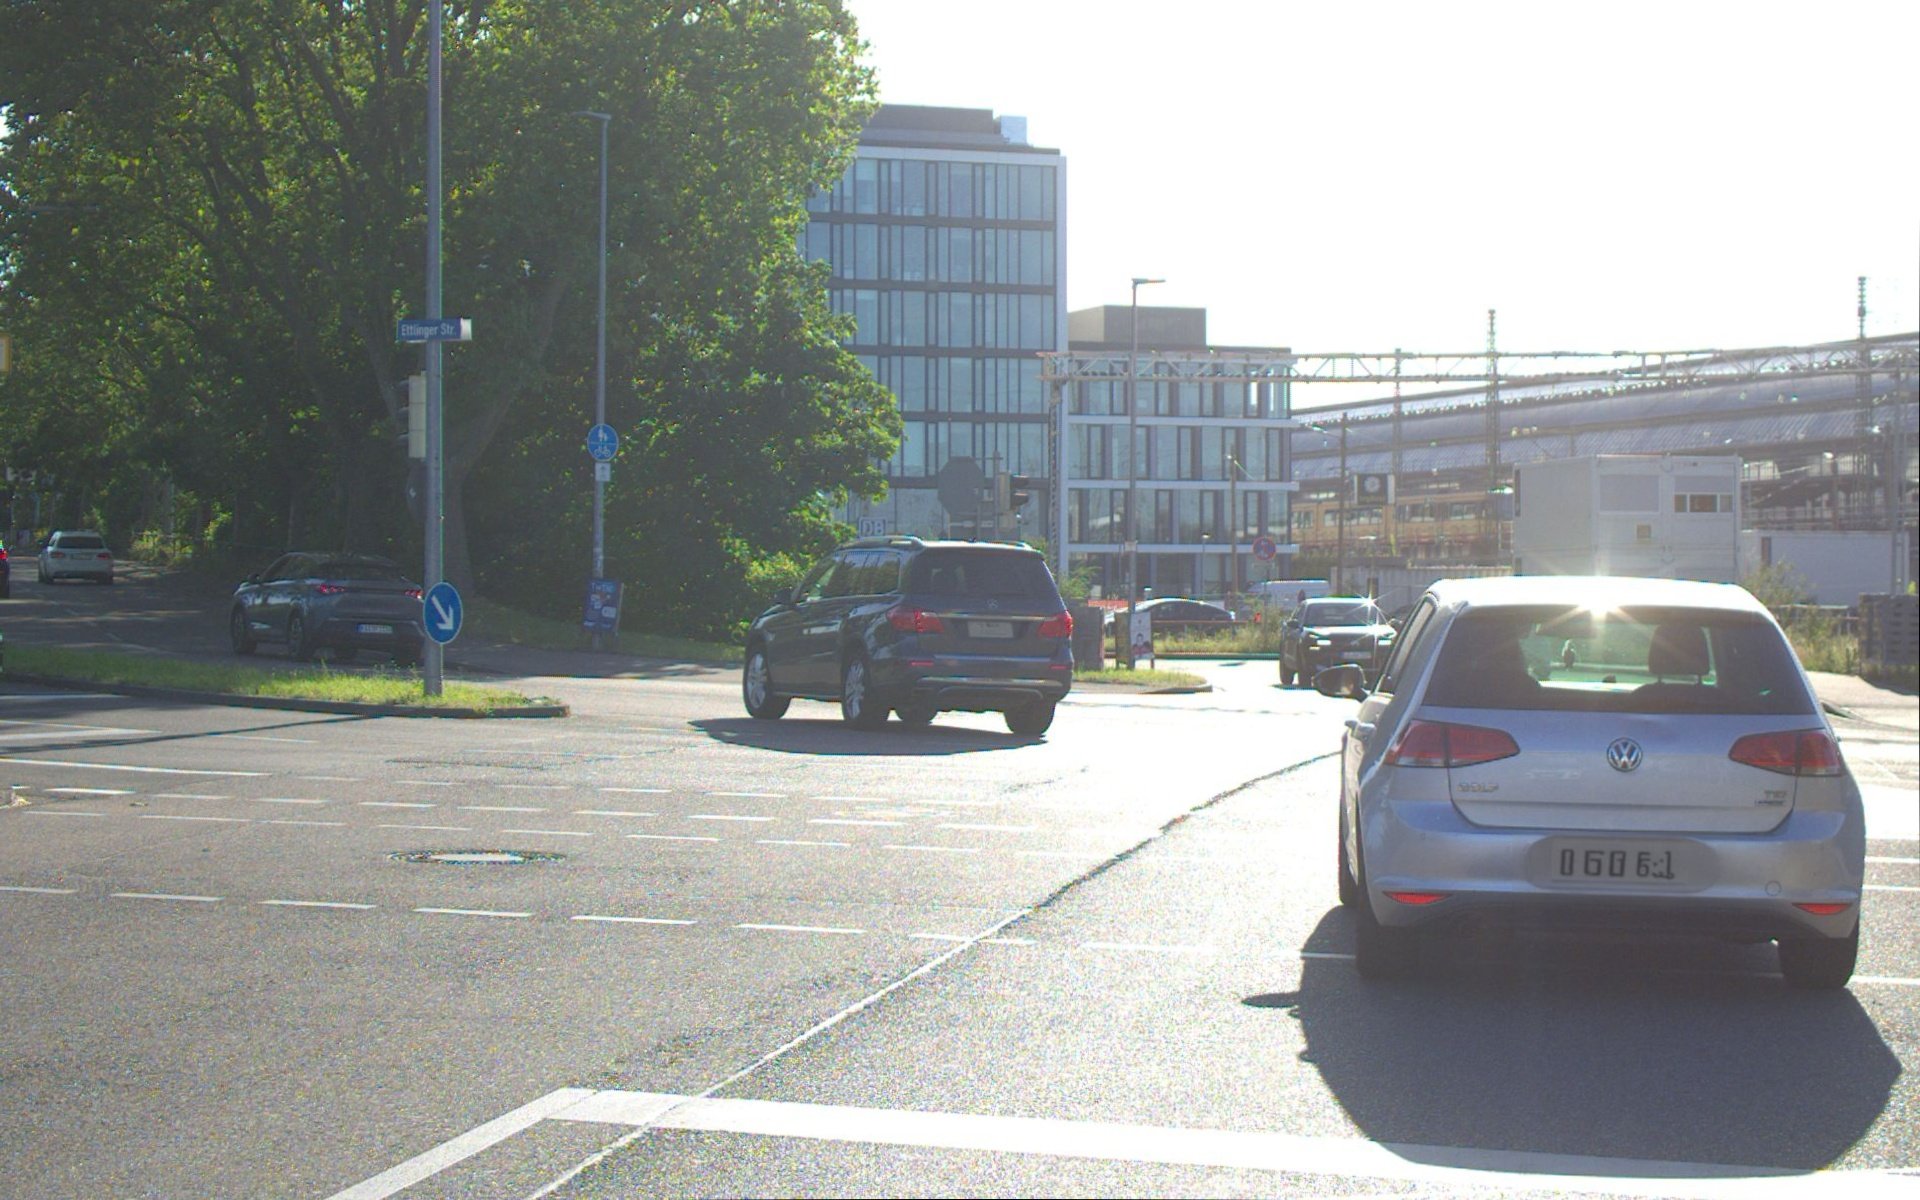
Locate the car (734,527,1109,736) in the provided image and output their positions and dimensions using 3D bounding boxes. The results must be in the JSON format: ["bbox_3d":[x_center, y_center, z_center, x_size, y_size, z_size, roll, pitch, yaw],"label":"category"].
[{"bbox_3d":[-0.477,0.264,33.533,2.112,1.881,4.814,1,0,-21],"label":"car"}]

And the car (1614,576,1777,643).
[{"bbox_3d":[20.120,0.267,94.073,3.986,1.700,1.616,2,0,-10],"label":"car"}]

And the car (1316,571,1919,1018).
[{"bbox_3d":[2.429,0.619,13.272,1.970,1.422,3.936,1,1,4],"label":"car"}]

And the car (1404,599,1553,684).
[{"bbox_3d":[9.739,0.755,64.826,1.747,1.471,4.001,1,1,-7],"label":"car"}]

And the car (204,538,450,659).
[{"bbox_3d":[-9.472,-0.043,51.215,1.942,1.707,4.200,1,1,-37],"label":"car"}]

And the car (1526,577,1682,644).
[{"bbox_3d":[18.300,0.289,97.718,3.986,1.782,1.656,2,0,-10],"label":"car"}]

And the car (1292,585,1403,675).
[{"bbox_3d":[6.810,0.501,60.743,1.748,1.471,4.000,1,1,4],"label":"car"}]

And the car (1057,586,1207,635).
[{"bbox_3d":[6.896,0.433,137.606,5.702,1.838,1.918,1,1,-24],"label":"car"}]

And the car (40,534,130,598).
[{"bbox_3d":[-23.670,-0.931,92.913,1.853,1.644,4.267,1,1,-21],"label":"car"}]

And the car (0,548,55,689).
[{"bbox_3d":[-11.170,0.143,35.895,1.903,1.422,3.936,1,0,-38],"label":"car"}]

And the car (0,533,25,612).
[{"bbox_3d":[-22.041,-0.648,77.394,1.853,1.737,4.267,1,1,-15],"label":"car"}]
